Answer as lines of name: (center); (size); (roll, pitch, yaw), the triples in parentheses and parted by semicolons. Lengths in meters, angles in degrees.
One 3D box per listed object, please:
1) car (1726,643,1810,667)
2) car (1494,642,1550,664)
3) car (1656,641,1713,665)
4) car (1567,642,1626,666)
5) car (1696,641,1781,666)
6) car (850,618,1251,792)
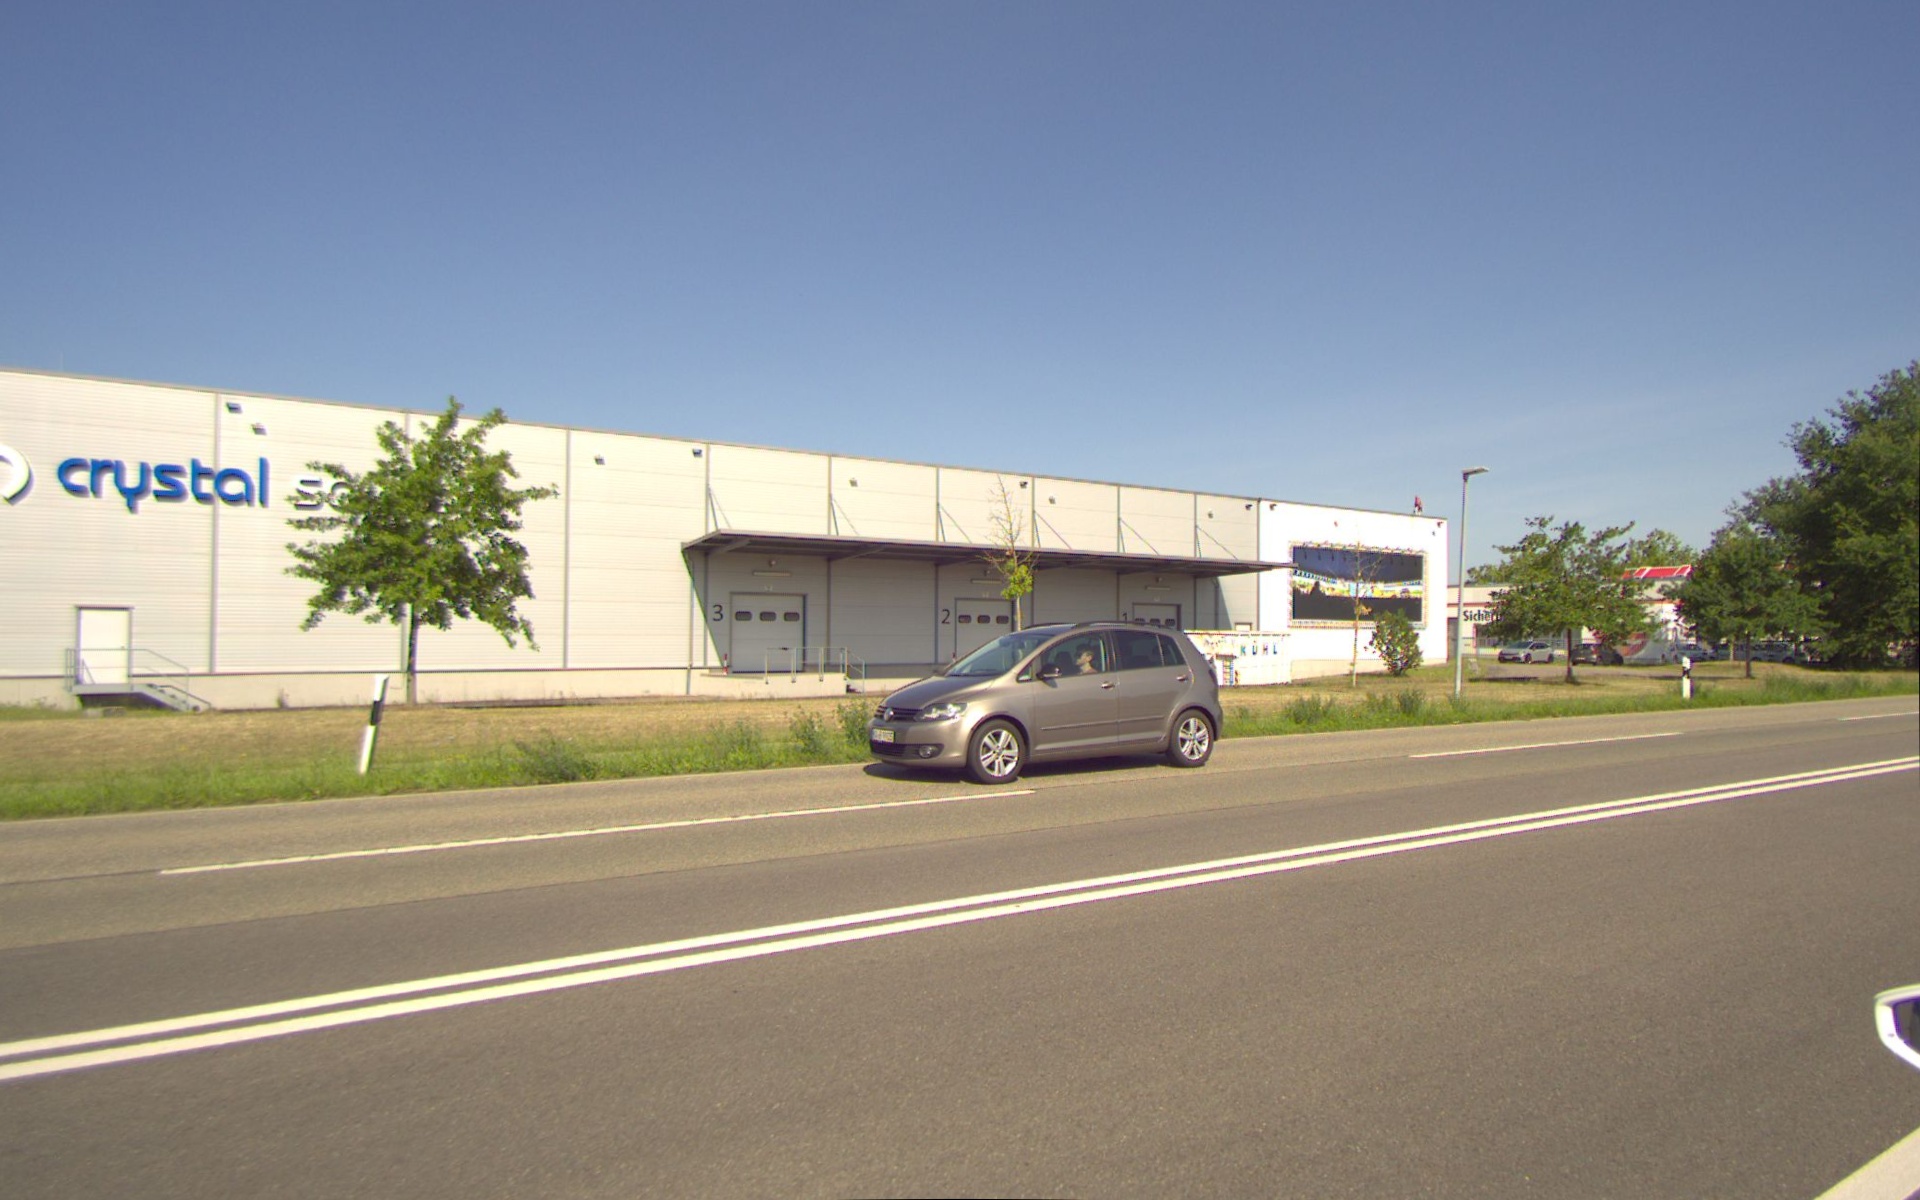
car: (53.345, 3.599, 66.368); (1.737, 1.520, 3.969); (1, -2, -30)
car: (36.937, 3.462, 66.018); (3.680, 1.429, 1.628); (2, -2, -31)
car: (46.287, 3.370, 64.273); (1.705, 1.520, 4.002); (0, -2, 16)
car: (39.237, 3.313, 61.909); (3.680, 1.408, 1.628); (2, -2, -31)
car: (49.829, 3.406, 64.374); (1.737, 1.520, 3.969); (1, -2, -30)
car: (1.044, 1.043, 10.993); (4.166, 1.581, 1.721); (1, -4, -31)
